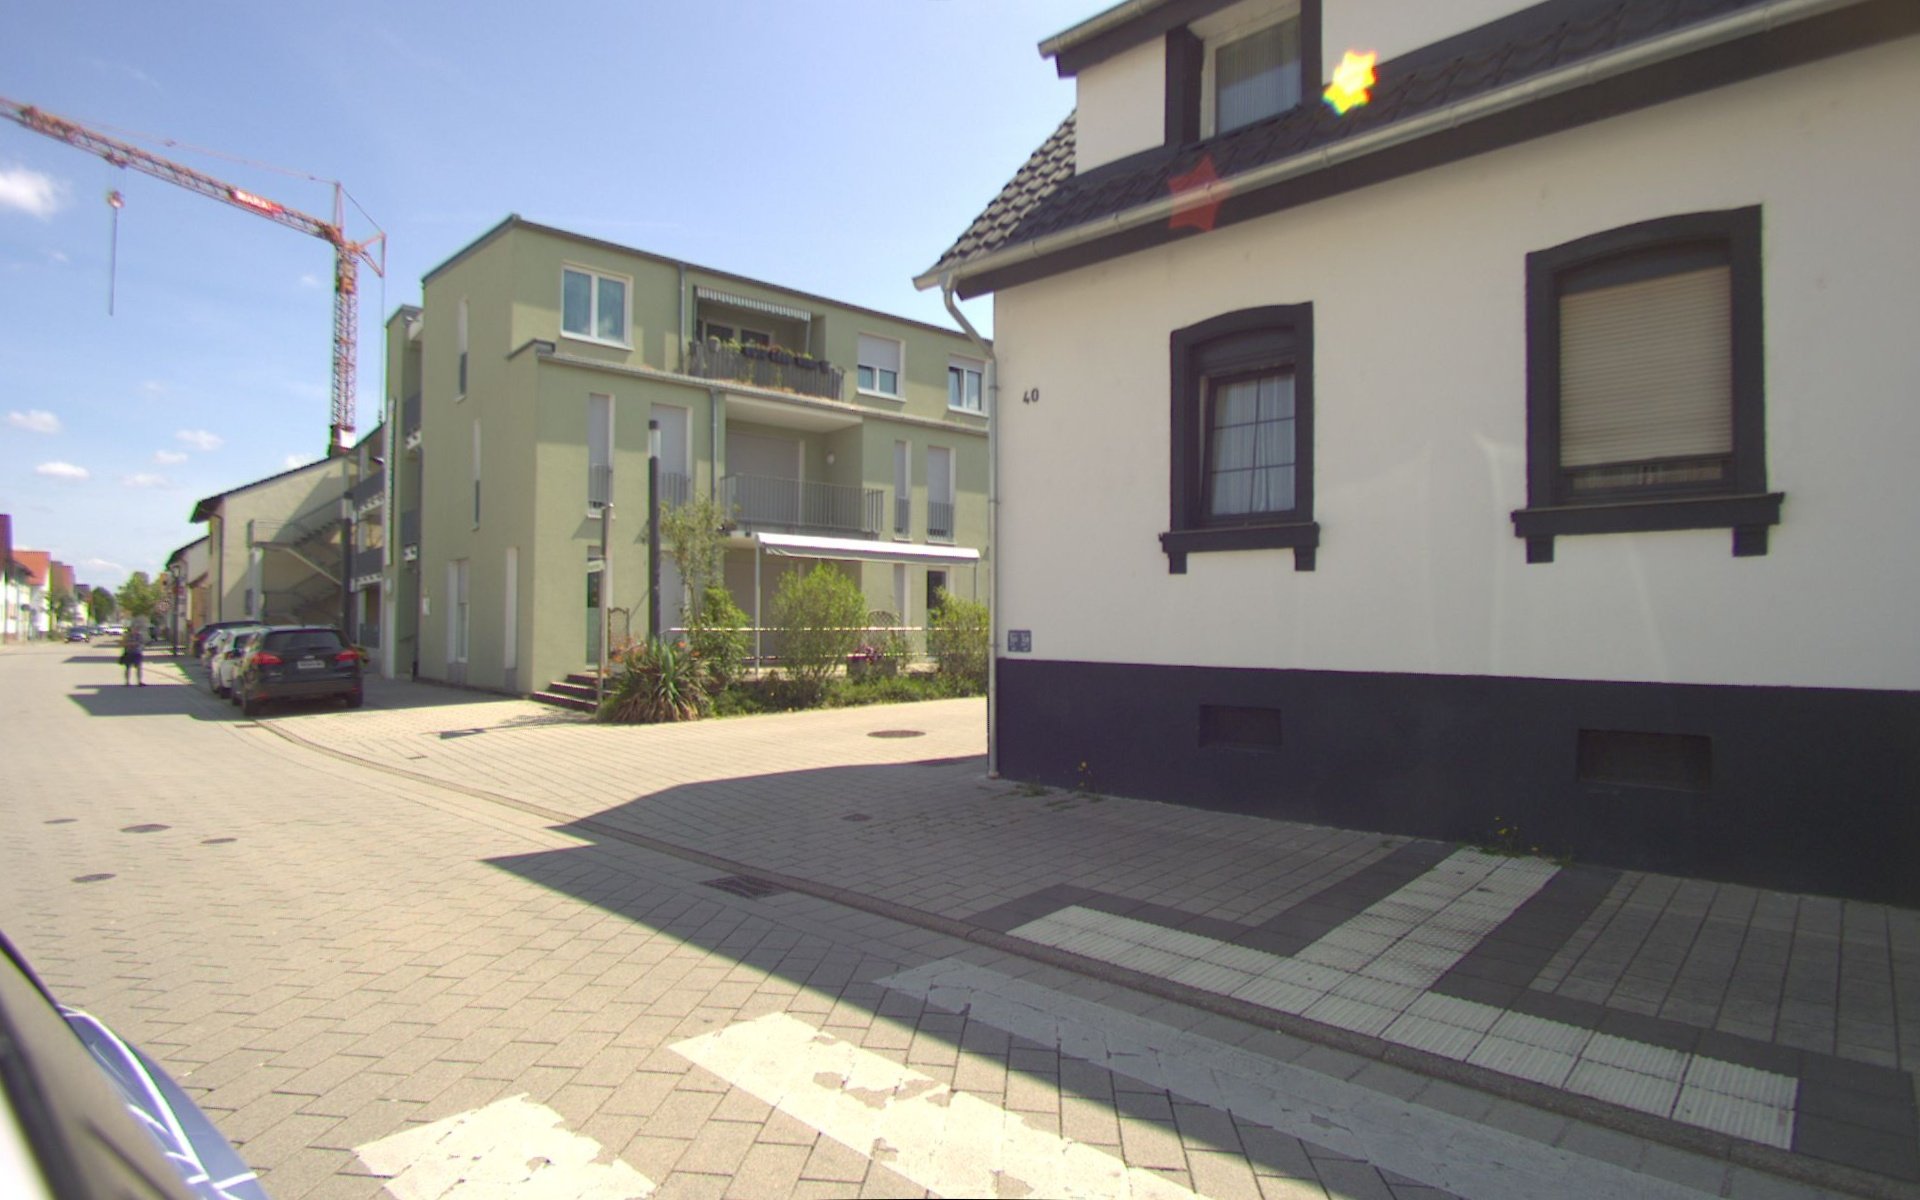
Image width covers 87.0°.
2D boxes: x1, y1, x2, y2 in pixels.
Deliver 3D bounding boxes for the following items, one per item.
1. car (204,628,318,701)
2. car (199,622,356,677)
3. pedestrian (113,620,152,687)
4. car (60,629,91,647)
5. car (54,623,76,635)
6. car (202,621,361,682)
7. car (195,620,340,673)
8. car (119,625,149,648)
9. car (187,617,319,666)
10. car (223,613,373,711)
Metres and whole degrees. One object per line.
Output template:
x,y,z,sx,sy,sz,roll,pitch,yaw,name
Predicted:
-15.695,1.366,22.647,1.736,1.421,3.884,-2,0,-40,car
-21.570,1.520,32.073,3.937,1.452,1.694,-3,1,-40,car
-21.123,1.352,25.841,0.737,1.652,0.733,-1,0,-38,pedestrian
-81.940,3.503,93.837,1.928,1.542,4.008,1,-2,-38,car
-104.259,3.379,117.964,1.700,1.440,3.825,1,-2,-39,car
-20.204,1.490,30.225,1.673,1.537,3.650,-2,0,45,car
-23.223,1.517,33.996,3.851,1.514,1.754,-2,0,-39,car
-61.295,2.708,75.126,1.552,1.573,2.828,-2,0,-37,car
-27.996,1.594,40.130,4.166,1.671,1.787,-2,0,-39,car
-12.066,1.038,18.319,1.791,1.502,4.284,-1,0,-40,car
